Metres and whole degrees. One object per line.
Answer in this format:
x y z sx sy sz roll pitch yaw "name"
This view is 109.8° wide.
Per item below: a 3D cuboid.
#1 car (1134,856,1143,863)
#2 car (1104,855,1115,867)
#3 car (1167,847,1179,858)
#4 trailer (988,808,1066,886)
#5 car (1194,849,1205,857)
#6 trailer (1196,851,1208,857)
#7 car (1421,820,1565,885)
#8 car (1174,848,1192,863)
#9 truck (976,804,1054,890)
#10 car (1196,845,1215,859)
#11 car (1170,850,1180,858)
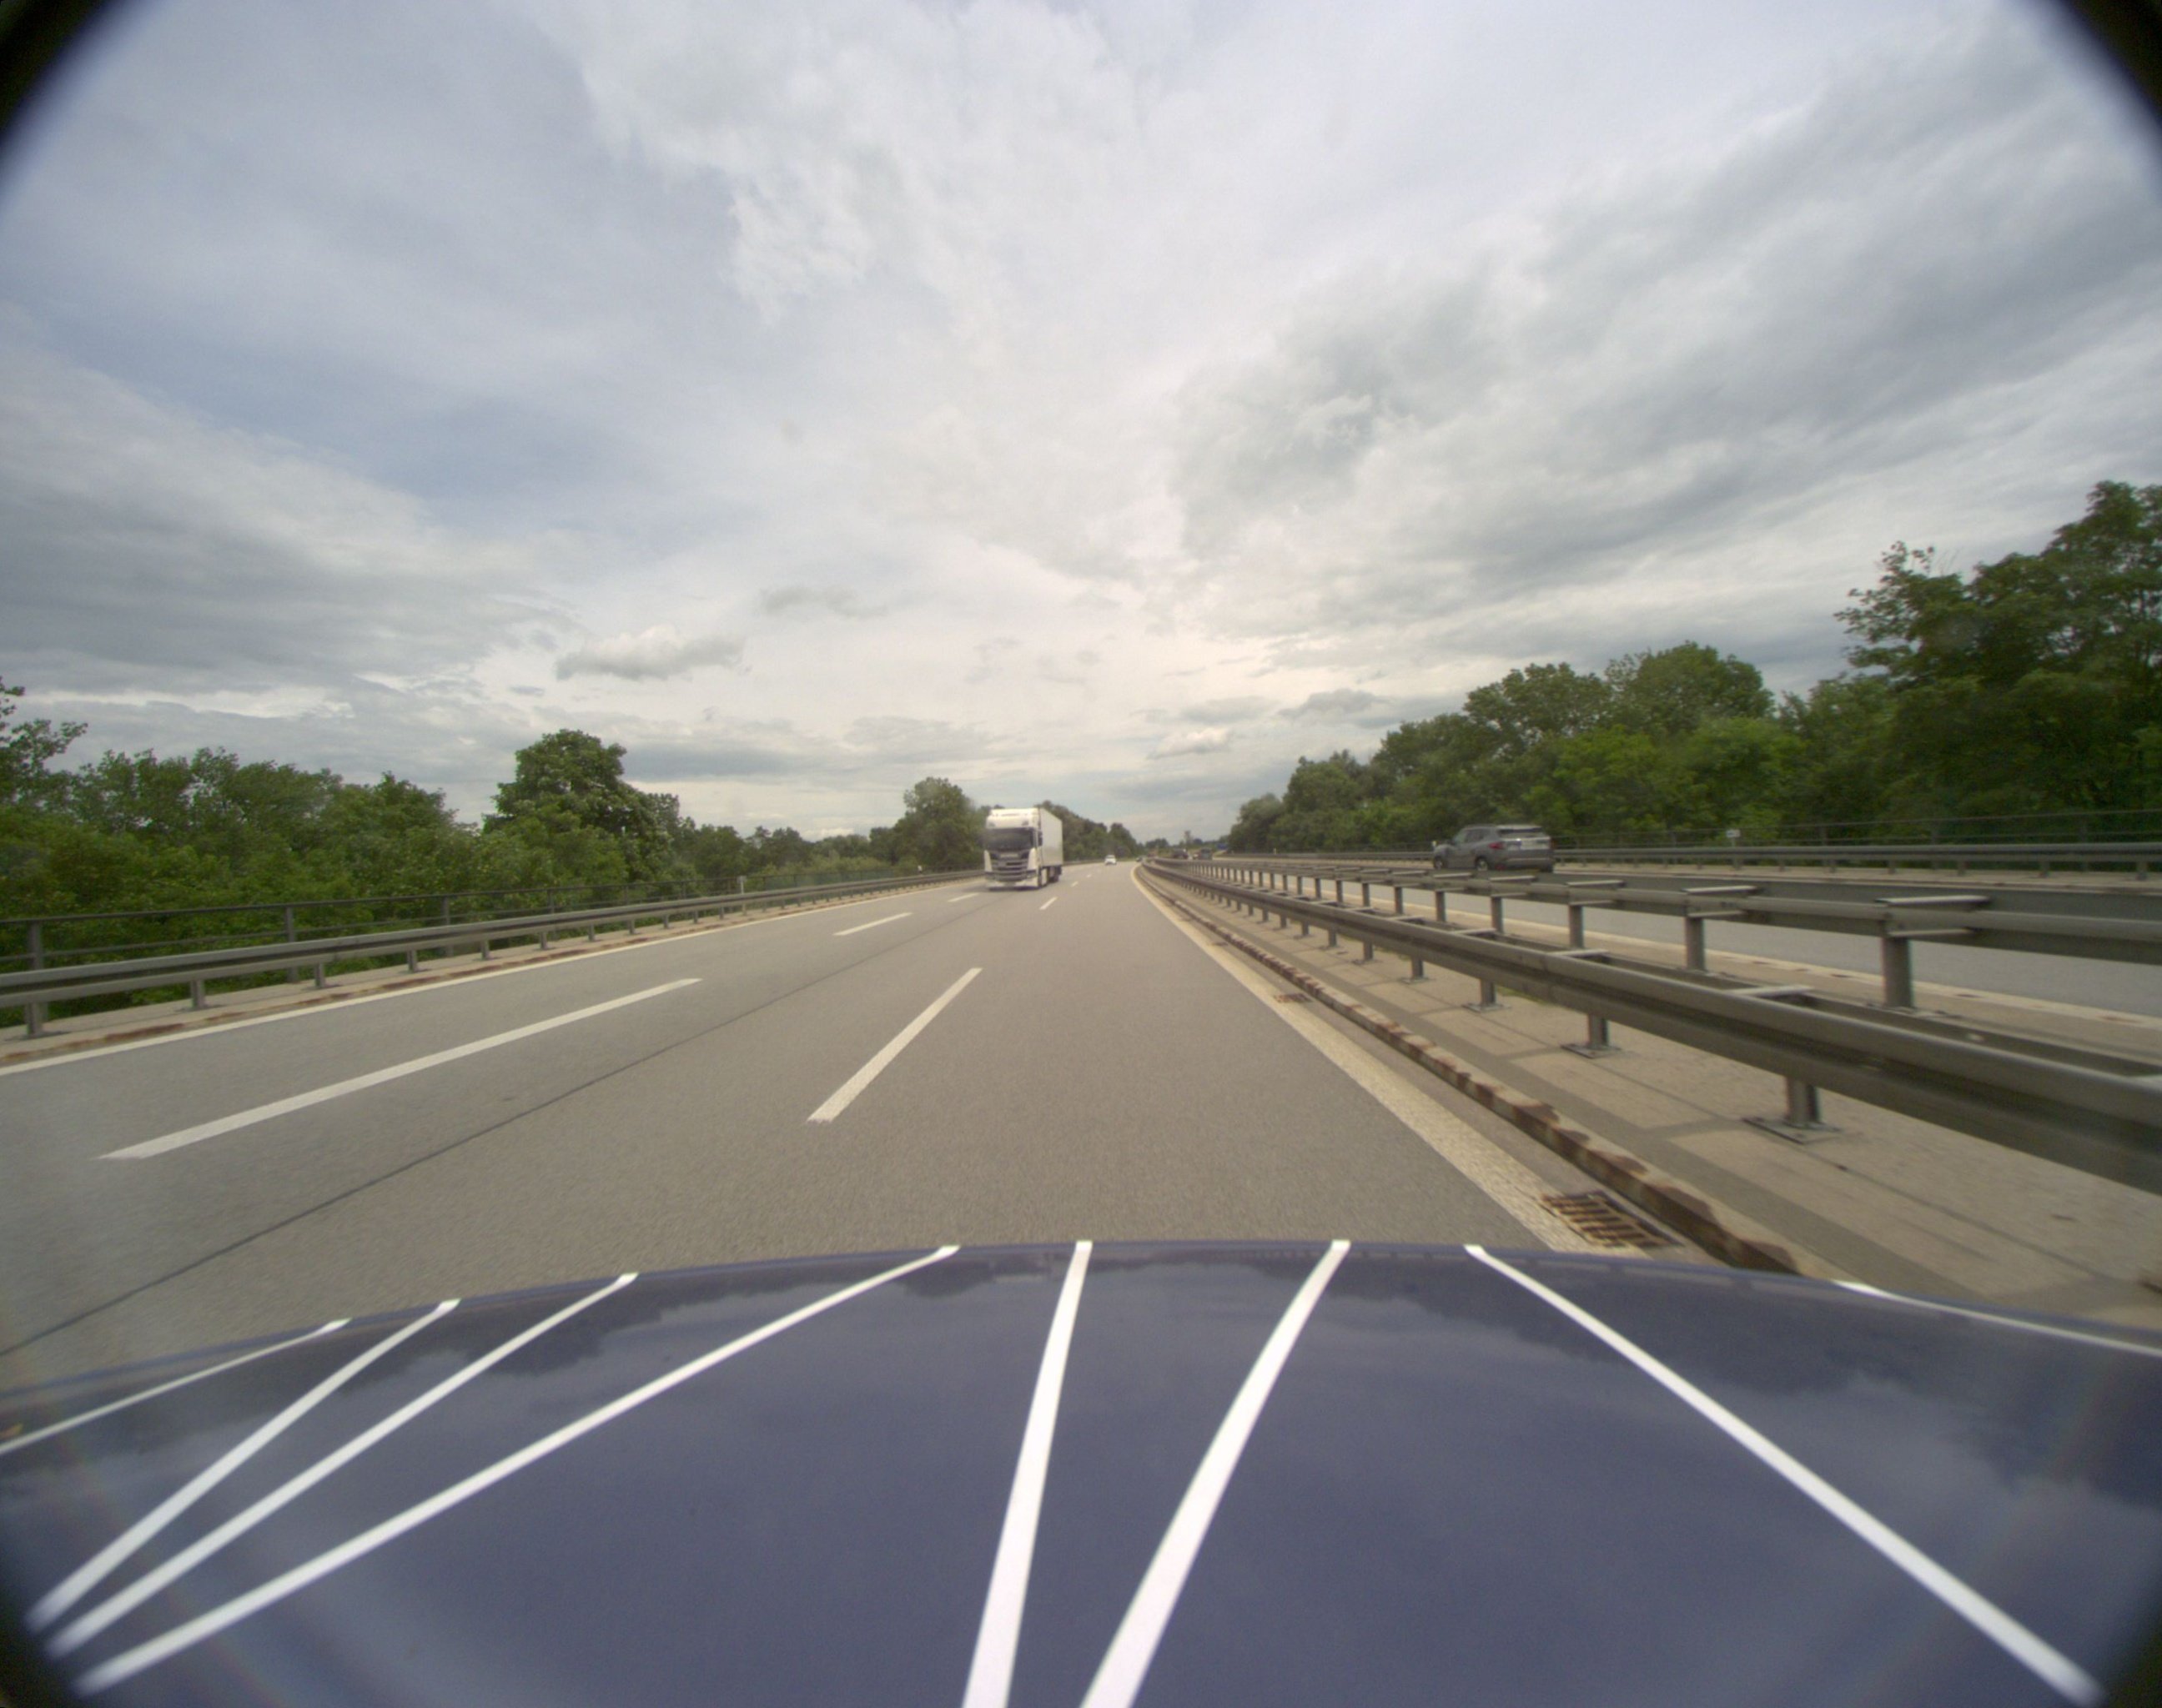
12.359 1.214 162.779 1.774 1.474 4.699 -1 -1 5 "car"
4.790 1.189 129.515 1.775 1.813 4.166 -3 0 2 "car"
14.068 -0.202 116.570 1.647 1.540 4.001 -3 0 5 "car"
-2.869 -0.324 45.395 3.069 3.867 13.792 -2 0 2 "trailer"
22.689 -0.161 145.533 1.741 1.401 4.943 -3 0 4 "car"
22.447 0.049 141.068 1.672 0.946 4.001 -3 0 3 "trailer"
11.782 -0.032 22.127 1.714 1.631 4.568 -2 0 1 "car"
11.514 0.130 85.972 1.647 1.596 4.001 -3 0 4 "car"
-3.130 -0.303 37.907 3.069 3.869 6.001 -2 0 2 "truck"
16.615 -0.271 101.233 1.998 1.735 4.226 -3 0 4 "car"
17.501 -0.016 141.864 1.695 1.428 4.112 -3 0 7 "car"
